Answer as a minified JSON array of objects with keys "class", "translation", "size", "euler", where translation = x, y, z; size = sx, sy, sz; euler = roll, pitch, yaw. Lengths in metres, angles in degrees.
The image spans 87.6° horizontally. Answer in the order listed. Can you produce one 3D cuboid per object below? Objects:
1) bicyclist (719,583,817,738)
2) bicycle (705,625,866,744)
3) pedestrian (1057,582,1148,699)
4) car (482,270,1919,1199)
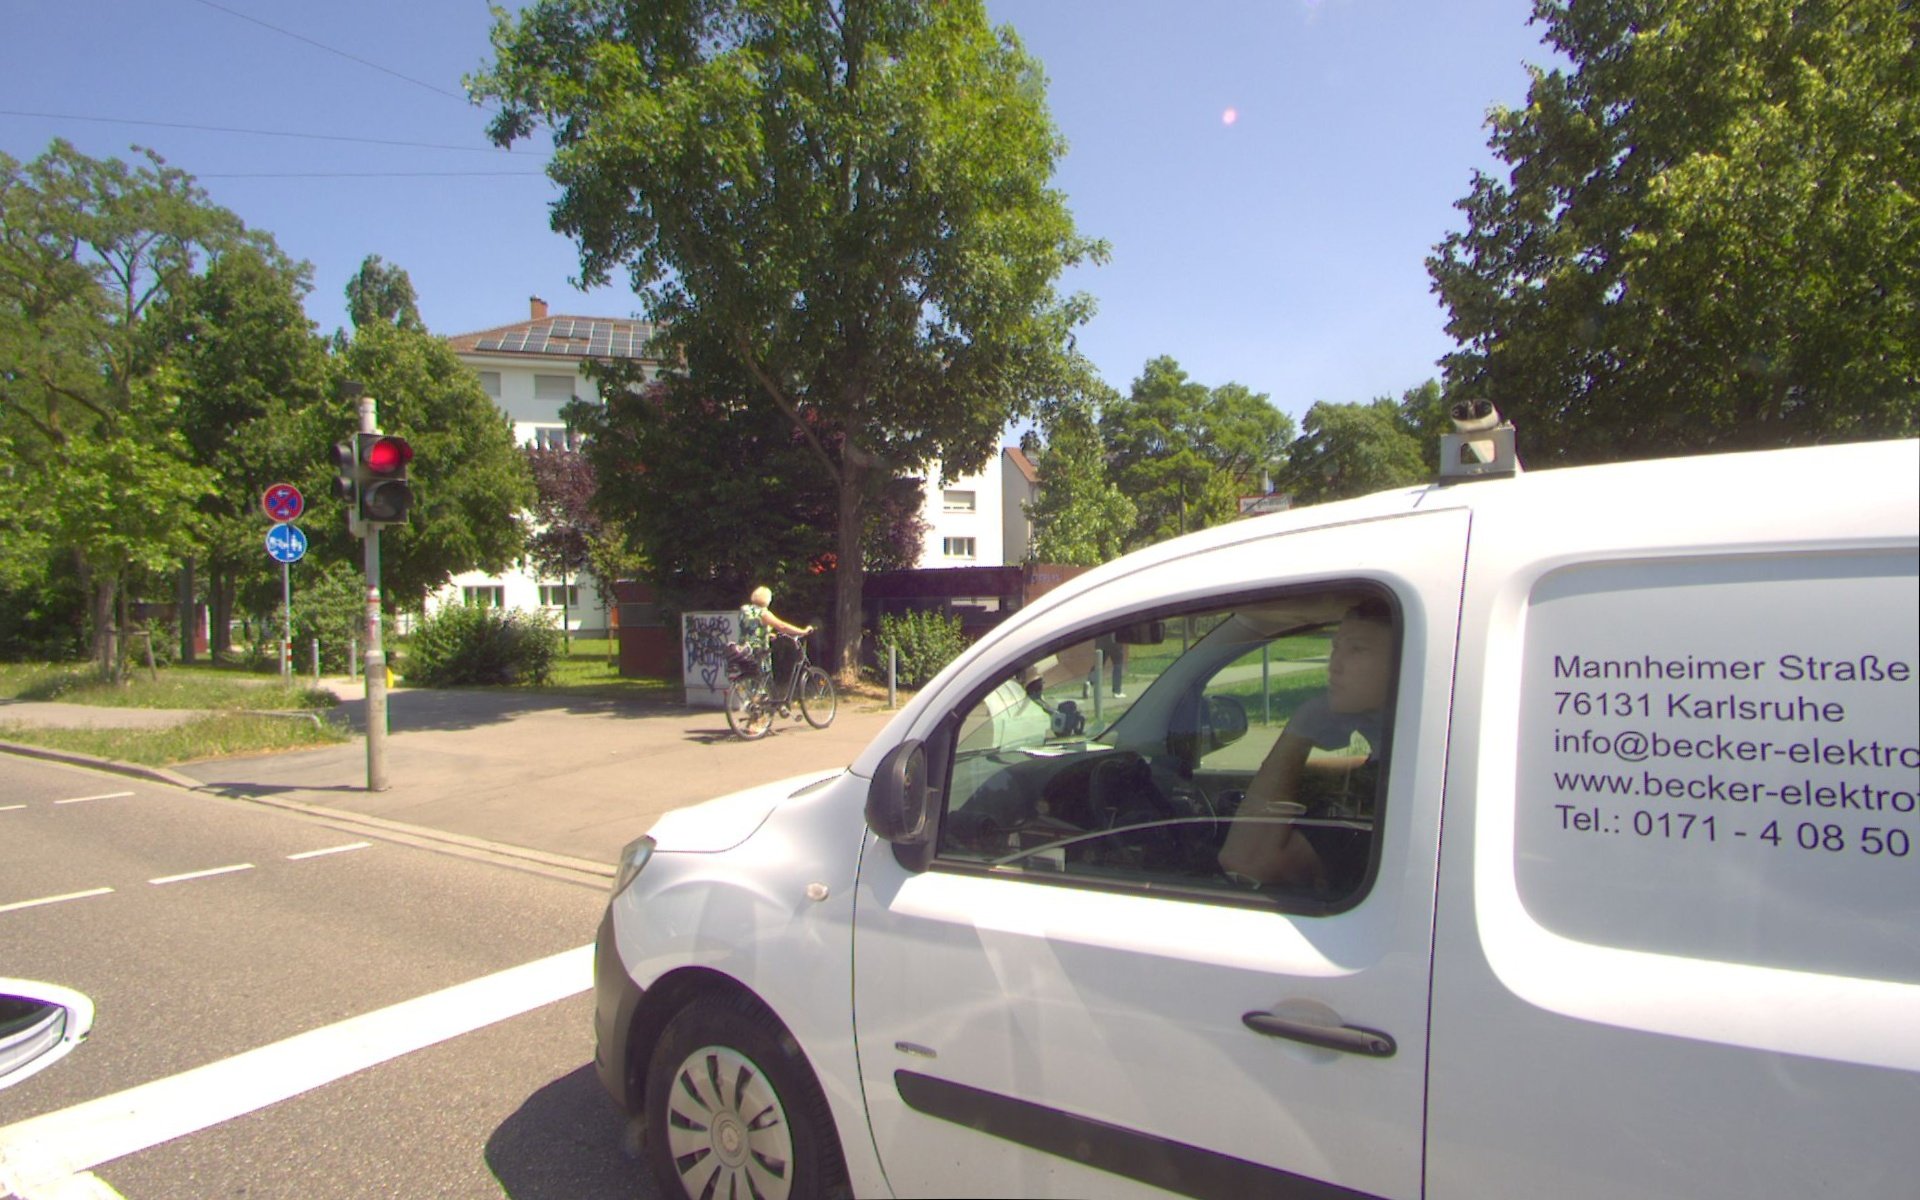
[{"class":"bicyclist","translation":[-2.207,0.662,11.538],"size":[0.573,1.690,0.953],"euler":[3,2,37]},{"class":"bicycle","translation":[-1.926,0.901,11.327],"size":[0.534,1.177,1.950],"euler":[3,2,37]},{"class":"pedestrian","translation":[2.319,0.630,16.246],"size":[1.175,1.801,0.833],"euler":[-3,1,-40]},{"class":"car","translation":[1.119,0.566,2.305],"size":[4.384,1.850,1.990],"euler":[-1,0,32]}]
